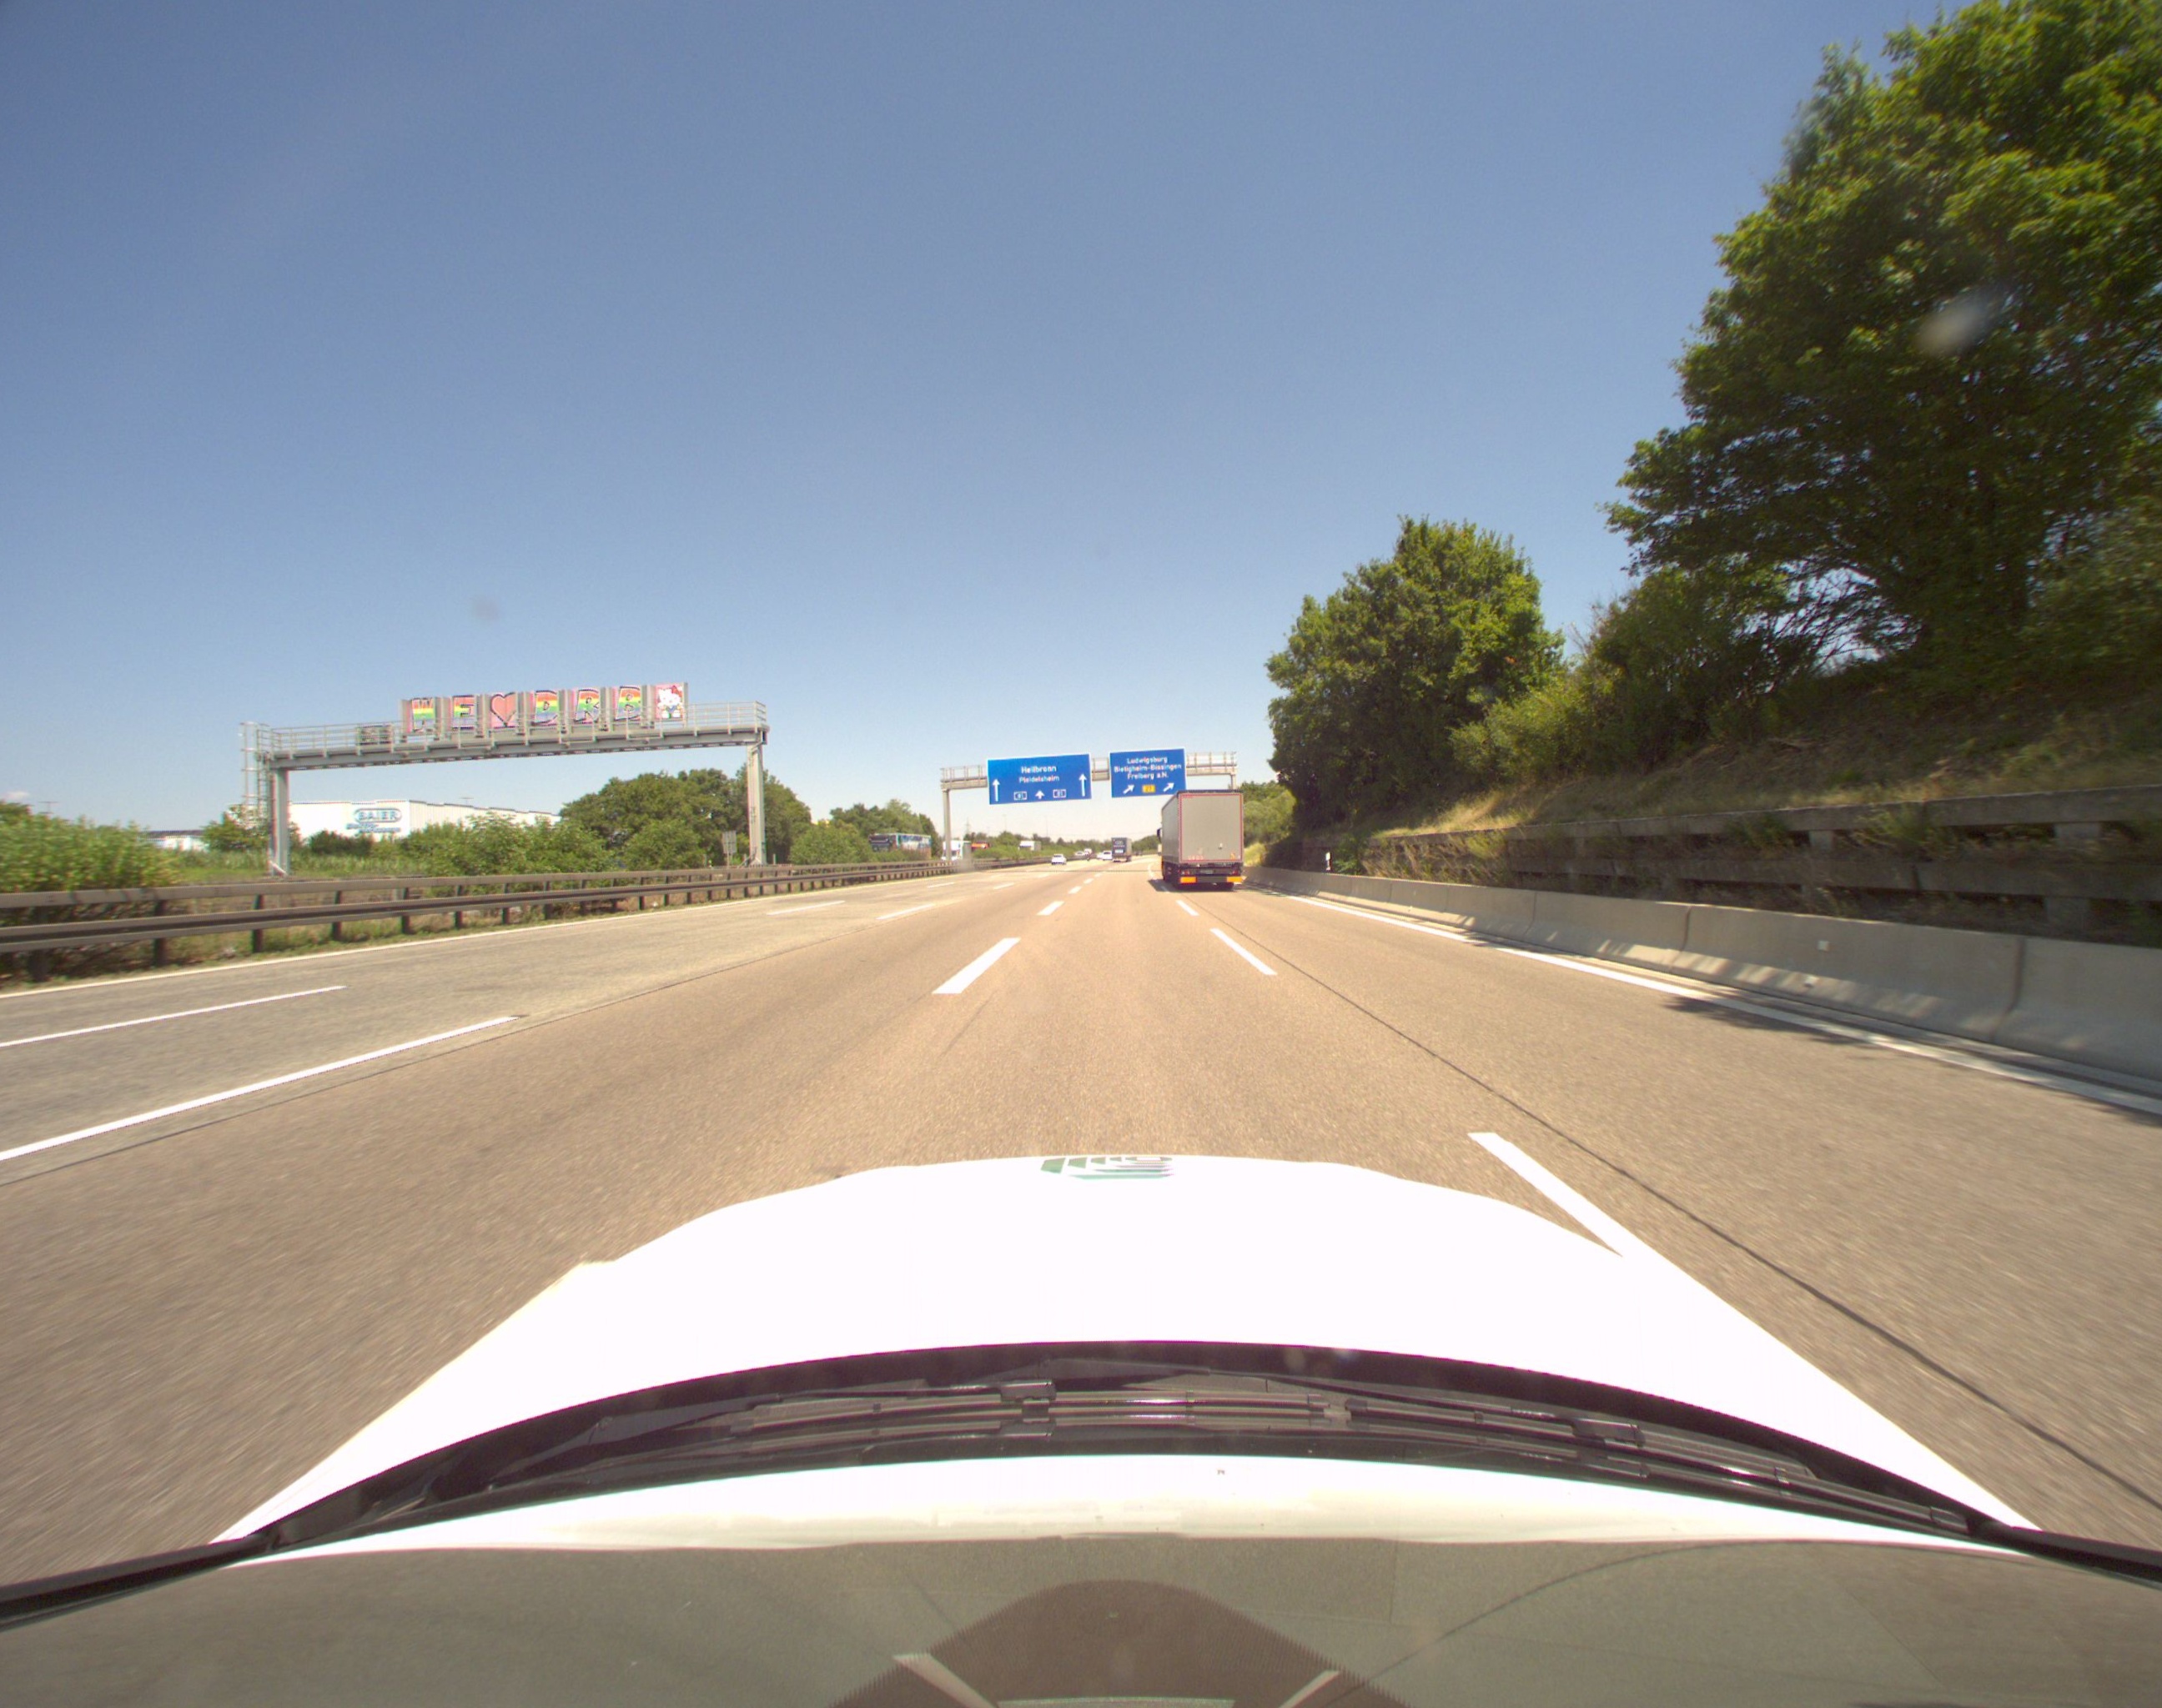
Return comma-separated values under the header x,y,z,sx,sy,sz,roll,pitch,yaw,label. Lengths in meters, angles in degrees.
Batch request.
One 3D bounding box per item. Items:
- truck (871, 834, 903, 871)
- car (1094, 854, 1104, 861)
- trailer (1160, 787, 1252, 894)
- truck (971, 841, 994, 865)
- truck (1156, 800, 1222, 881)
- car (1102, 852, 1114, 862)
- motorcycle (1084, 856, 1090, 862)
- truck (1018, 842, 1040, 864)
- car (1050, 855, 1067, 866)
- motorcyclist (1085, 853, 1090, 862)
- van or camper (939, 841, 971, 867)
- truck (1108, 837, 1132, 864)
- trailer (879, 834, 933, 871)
x,y,z,sx,sy,sz,roll,pitch,yaw,label
-20.969,-0.188,88.234,1.984,3.896,4.347,-1,0,5,truck
4.003,0.777,181.425,1.868,1.441,5.131,-1,-2,5,car
5.362,-0.595,37.300,2.916,4.015,12.049,-2,1,3,trailer
-16.592,-0.164,137.228,2.740,3.793,5.109,-1,0,5,truck
5.810,-0.736,44.953,2.916,4.015,7.590,-2,1,3,truck
5.302,0.636,158.632,1.921,1.851,4.700,-2,-1,6,car
1.186,0.917,151.392,0.908,1.089,2.853,-2,0,4,motorcycle
-10.074,-0.153,160.246,2.740,4.207,10.417,-1,0,5,truck
-3.083,0.951,113.906,1.773,1.440,4.675,-1,-1,5,car
1.185,0.647,151.365,0.889,1.597,1.301,-2,1,4,motorcyclist
-16.116,0.013,104.616,2.464,3.220,7.830,-1,0,3,van or camper
6.761,-0.579,139.549,3.730,4.270,14.511,-1,0,4,truck
-20.292,-0.178,95.452,1.984,3.922,14.022,-1,0,5,trailer
